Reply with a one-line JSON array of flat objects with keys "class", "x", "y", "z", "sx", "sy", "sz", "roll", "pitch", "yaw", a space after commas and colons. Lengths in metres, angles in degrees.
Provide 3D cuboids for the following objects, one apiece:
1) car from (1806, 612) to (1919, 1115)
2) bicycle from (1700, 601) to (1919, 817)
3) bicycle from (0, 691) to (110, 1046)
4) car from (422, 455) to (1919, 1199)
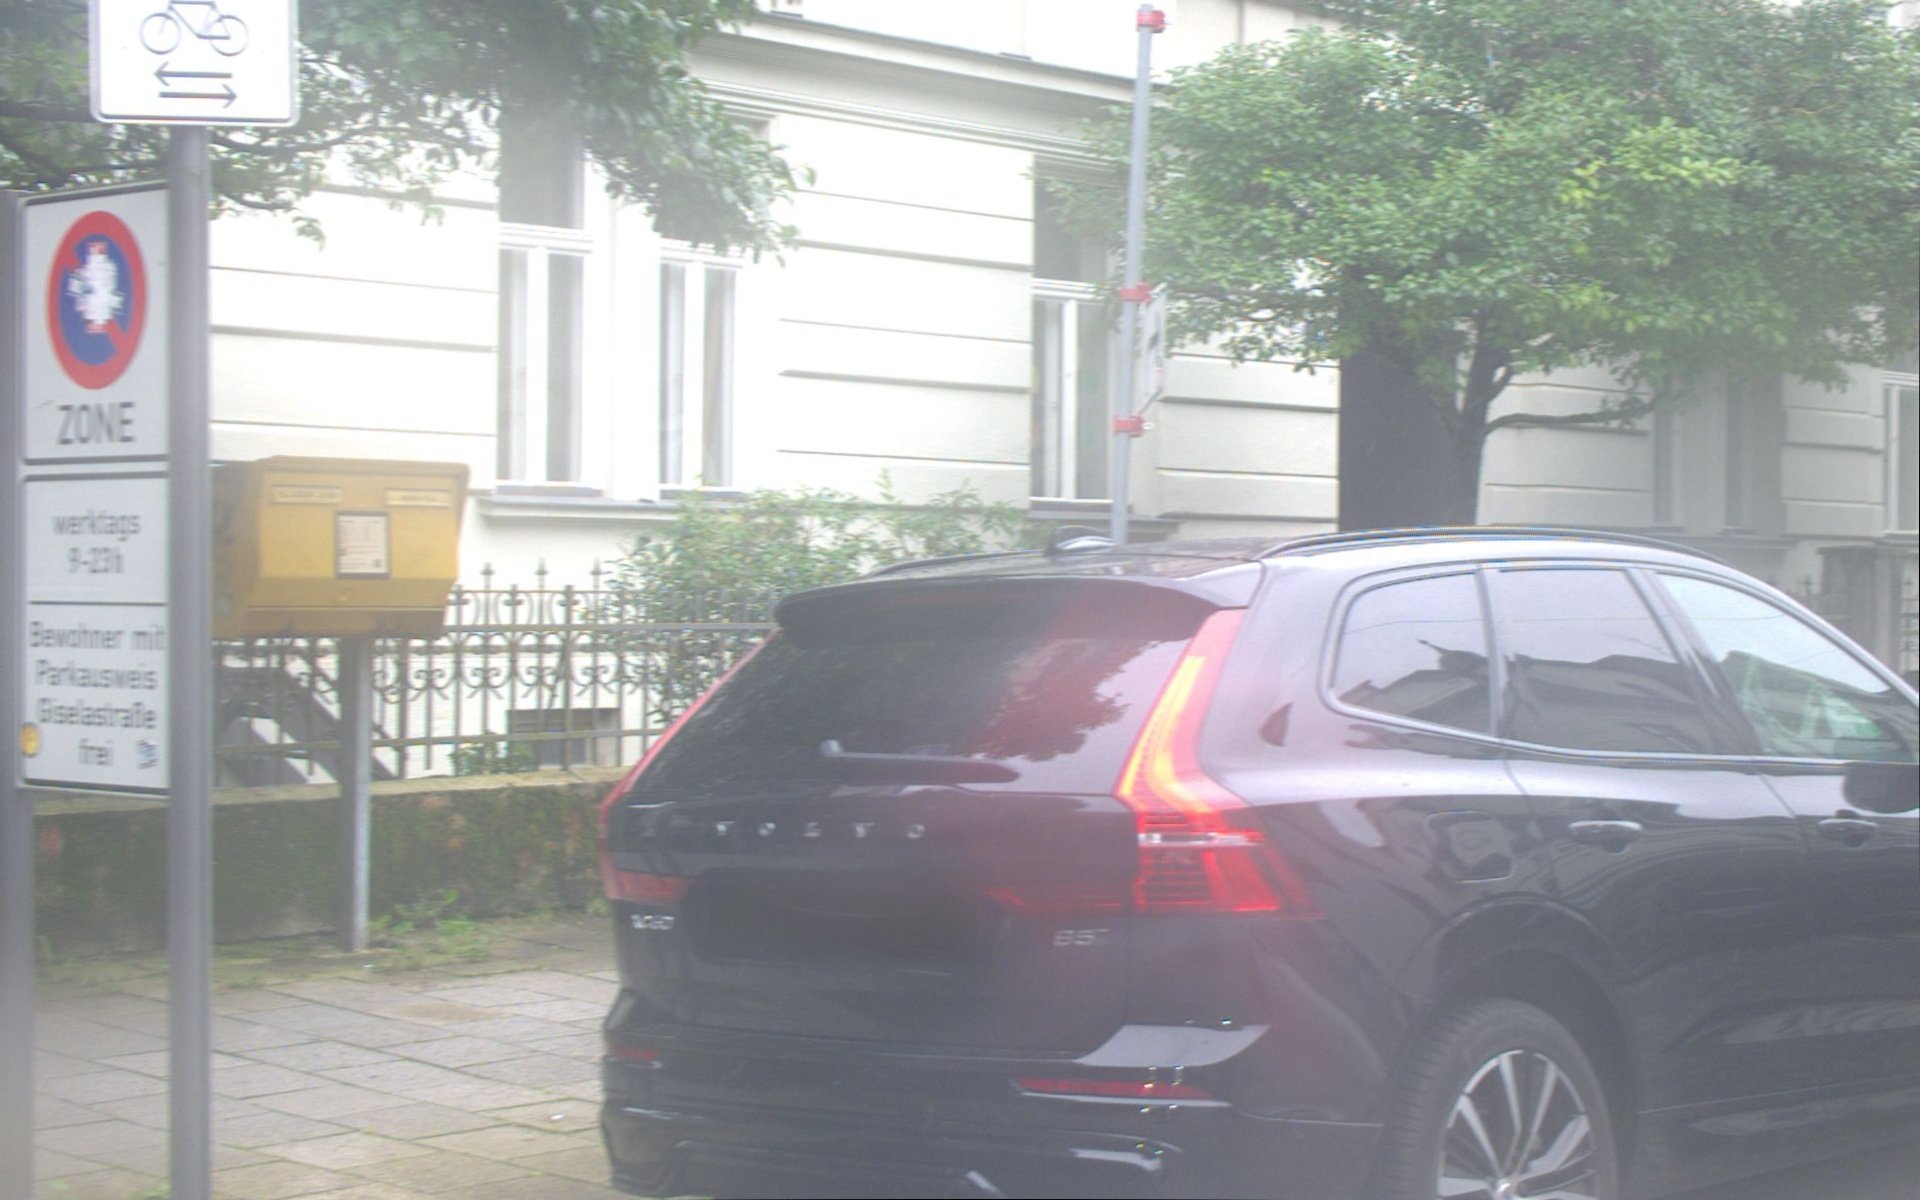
[{"class": "car", "x": 4.943, "y": 0.756, "z": 11.871, "sx": 1.809, "sy": 1.500, "sz": 5.165, "roll": -2, "pitch": -1, "yaw": 40}, {"class": "bicycle", "x": 4.741, "y": 0.577, "z": 18.992, "sx": 0.363, "sy": 1.129, "sz": 1.883, "roll": 3, "pitch": 2, "yaw": 42}, {"class": "bicycle", "x": -3.493, "y": 0.812, "z": 10.025, "sx": 1.923, "sy": 1.024, "sz": 0.557, "roll": 0, "pitch": 2, "yaw": -42}, {"class": "car", "x": 1.369, "y": 0.651, "z": 7.989, "sx": 1.942, "sy": 1.647, "sz": 5.041, "roll": -4, "pitch": -3, "yaw": 42}]
